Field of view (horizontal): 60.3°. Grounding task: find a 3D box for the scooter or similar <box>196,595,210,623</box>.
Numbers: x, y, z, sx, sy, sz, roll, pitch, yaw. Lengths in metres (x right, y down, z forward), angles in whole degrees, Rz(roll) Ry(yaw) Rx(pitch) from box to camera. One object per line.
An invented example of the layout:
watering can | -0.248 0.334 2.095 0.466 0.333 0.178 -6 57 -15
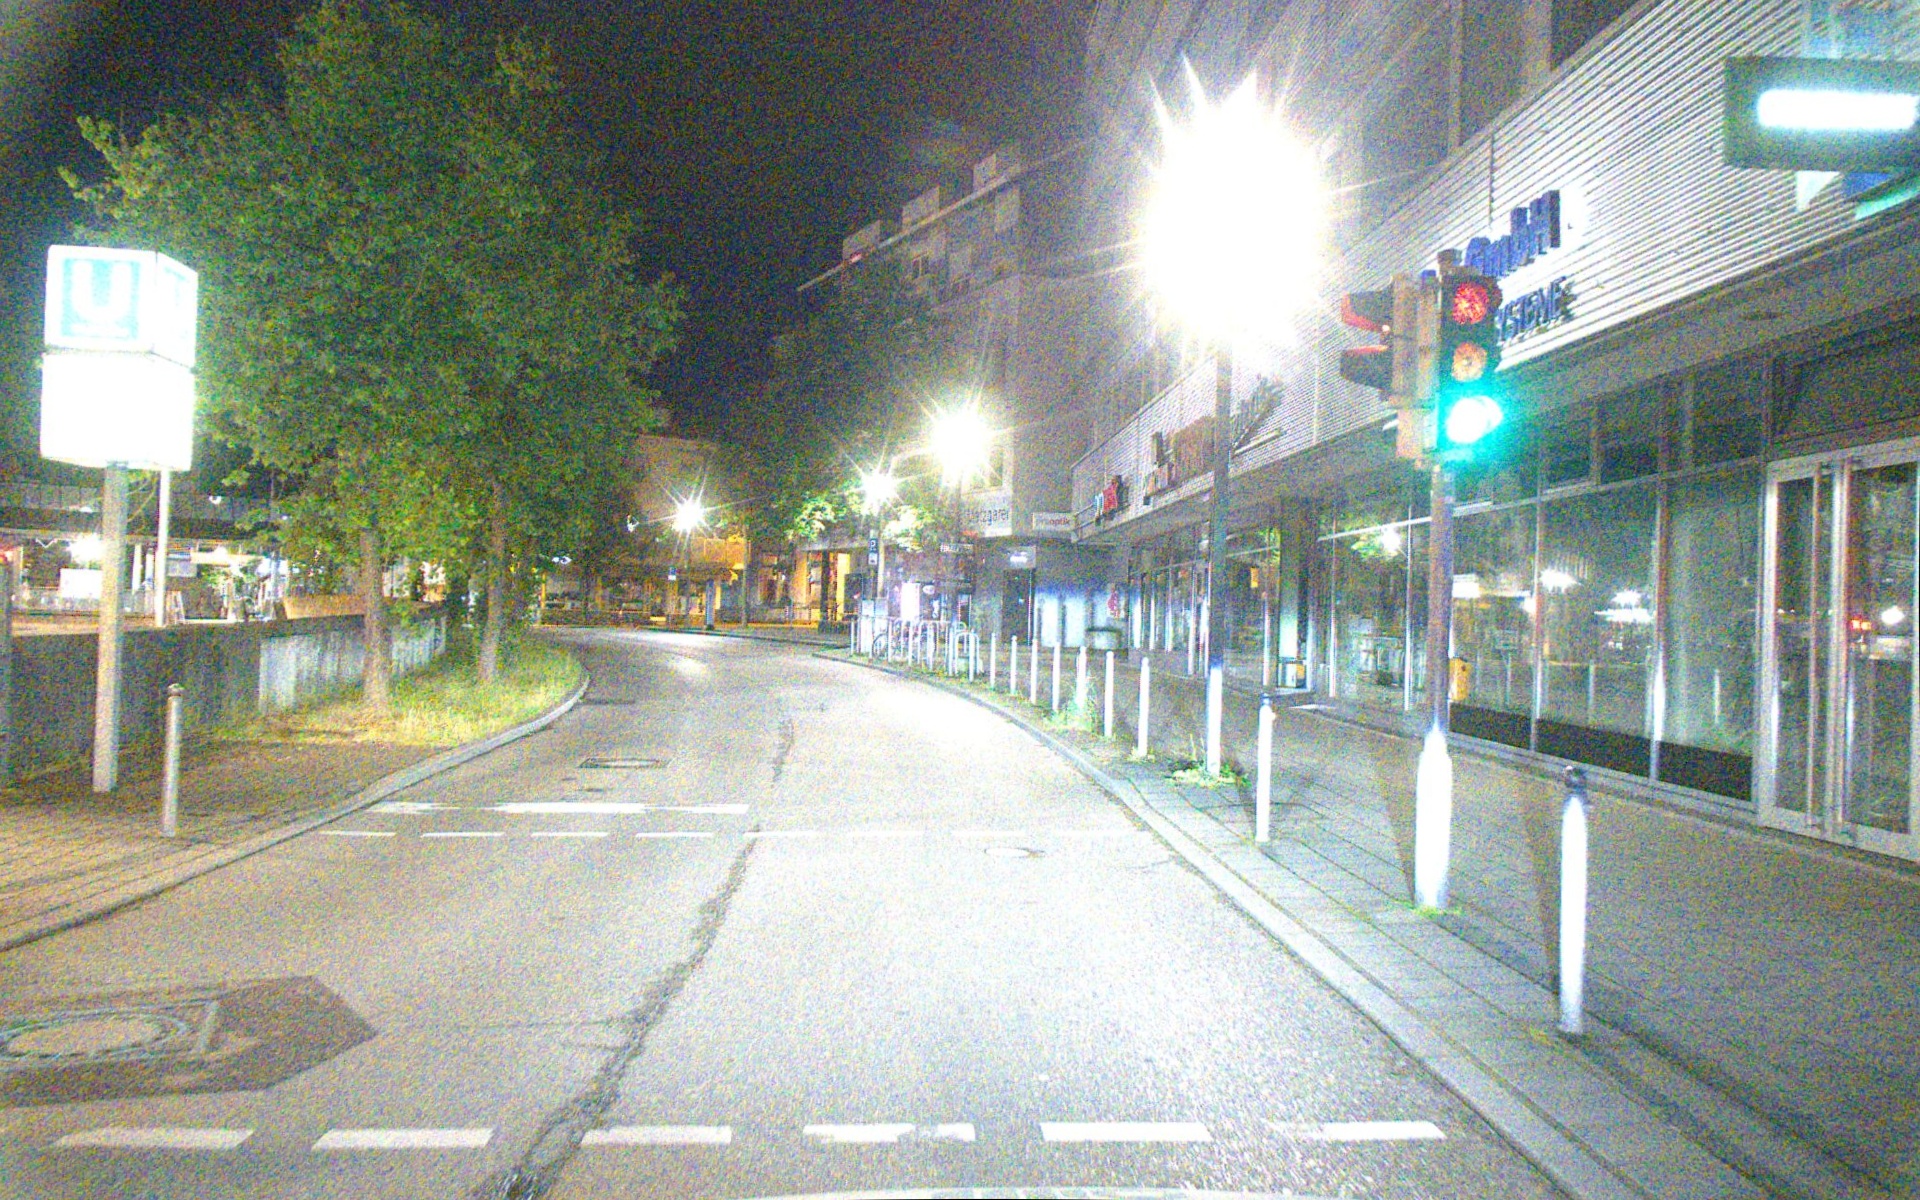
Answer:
scooter or similar | -36.391 0.419 79.519 0.426 1.307 1.132 0 1 -36

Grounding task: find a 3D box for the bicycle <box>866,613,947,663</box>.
bicycle | -1.218 0.873 37.831 1.728 1.081 0.650 2 0 -27

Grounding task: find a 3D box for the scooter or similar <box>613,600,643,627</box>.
scooter or similar | -16.020 0.647 79.861 1.233 1.248 0.592 3 0 -30
